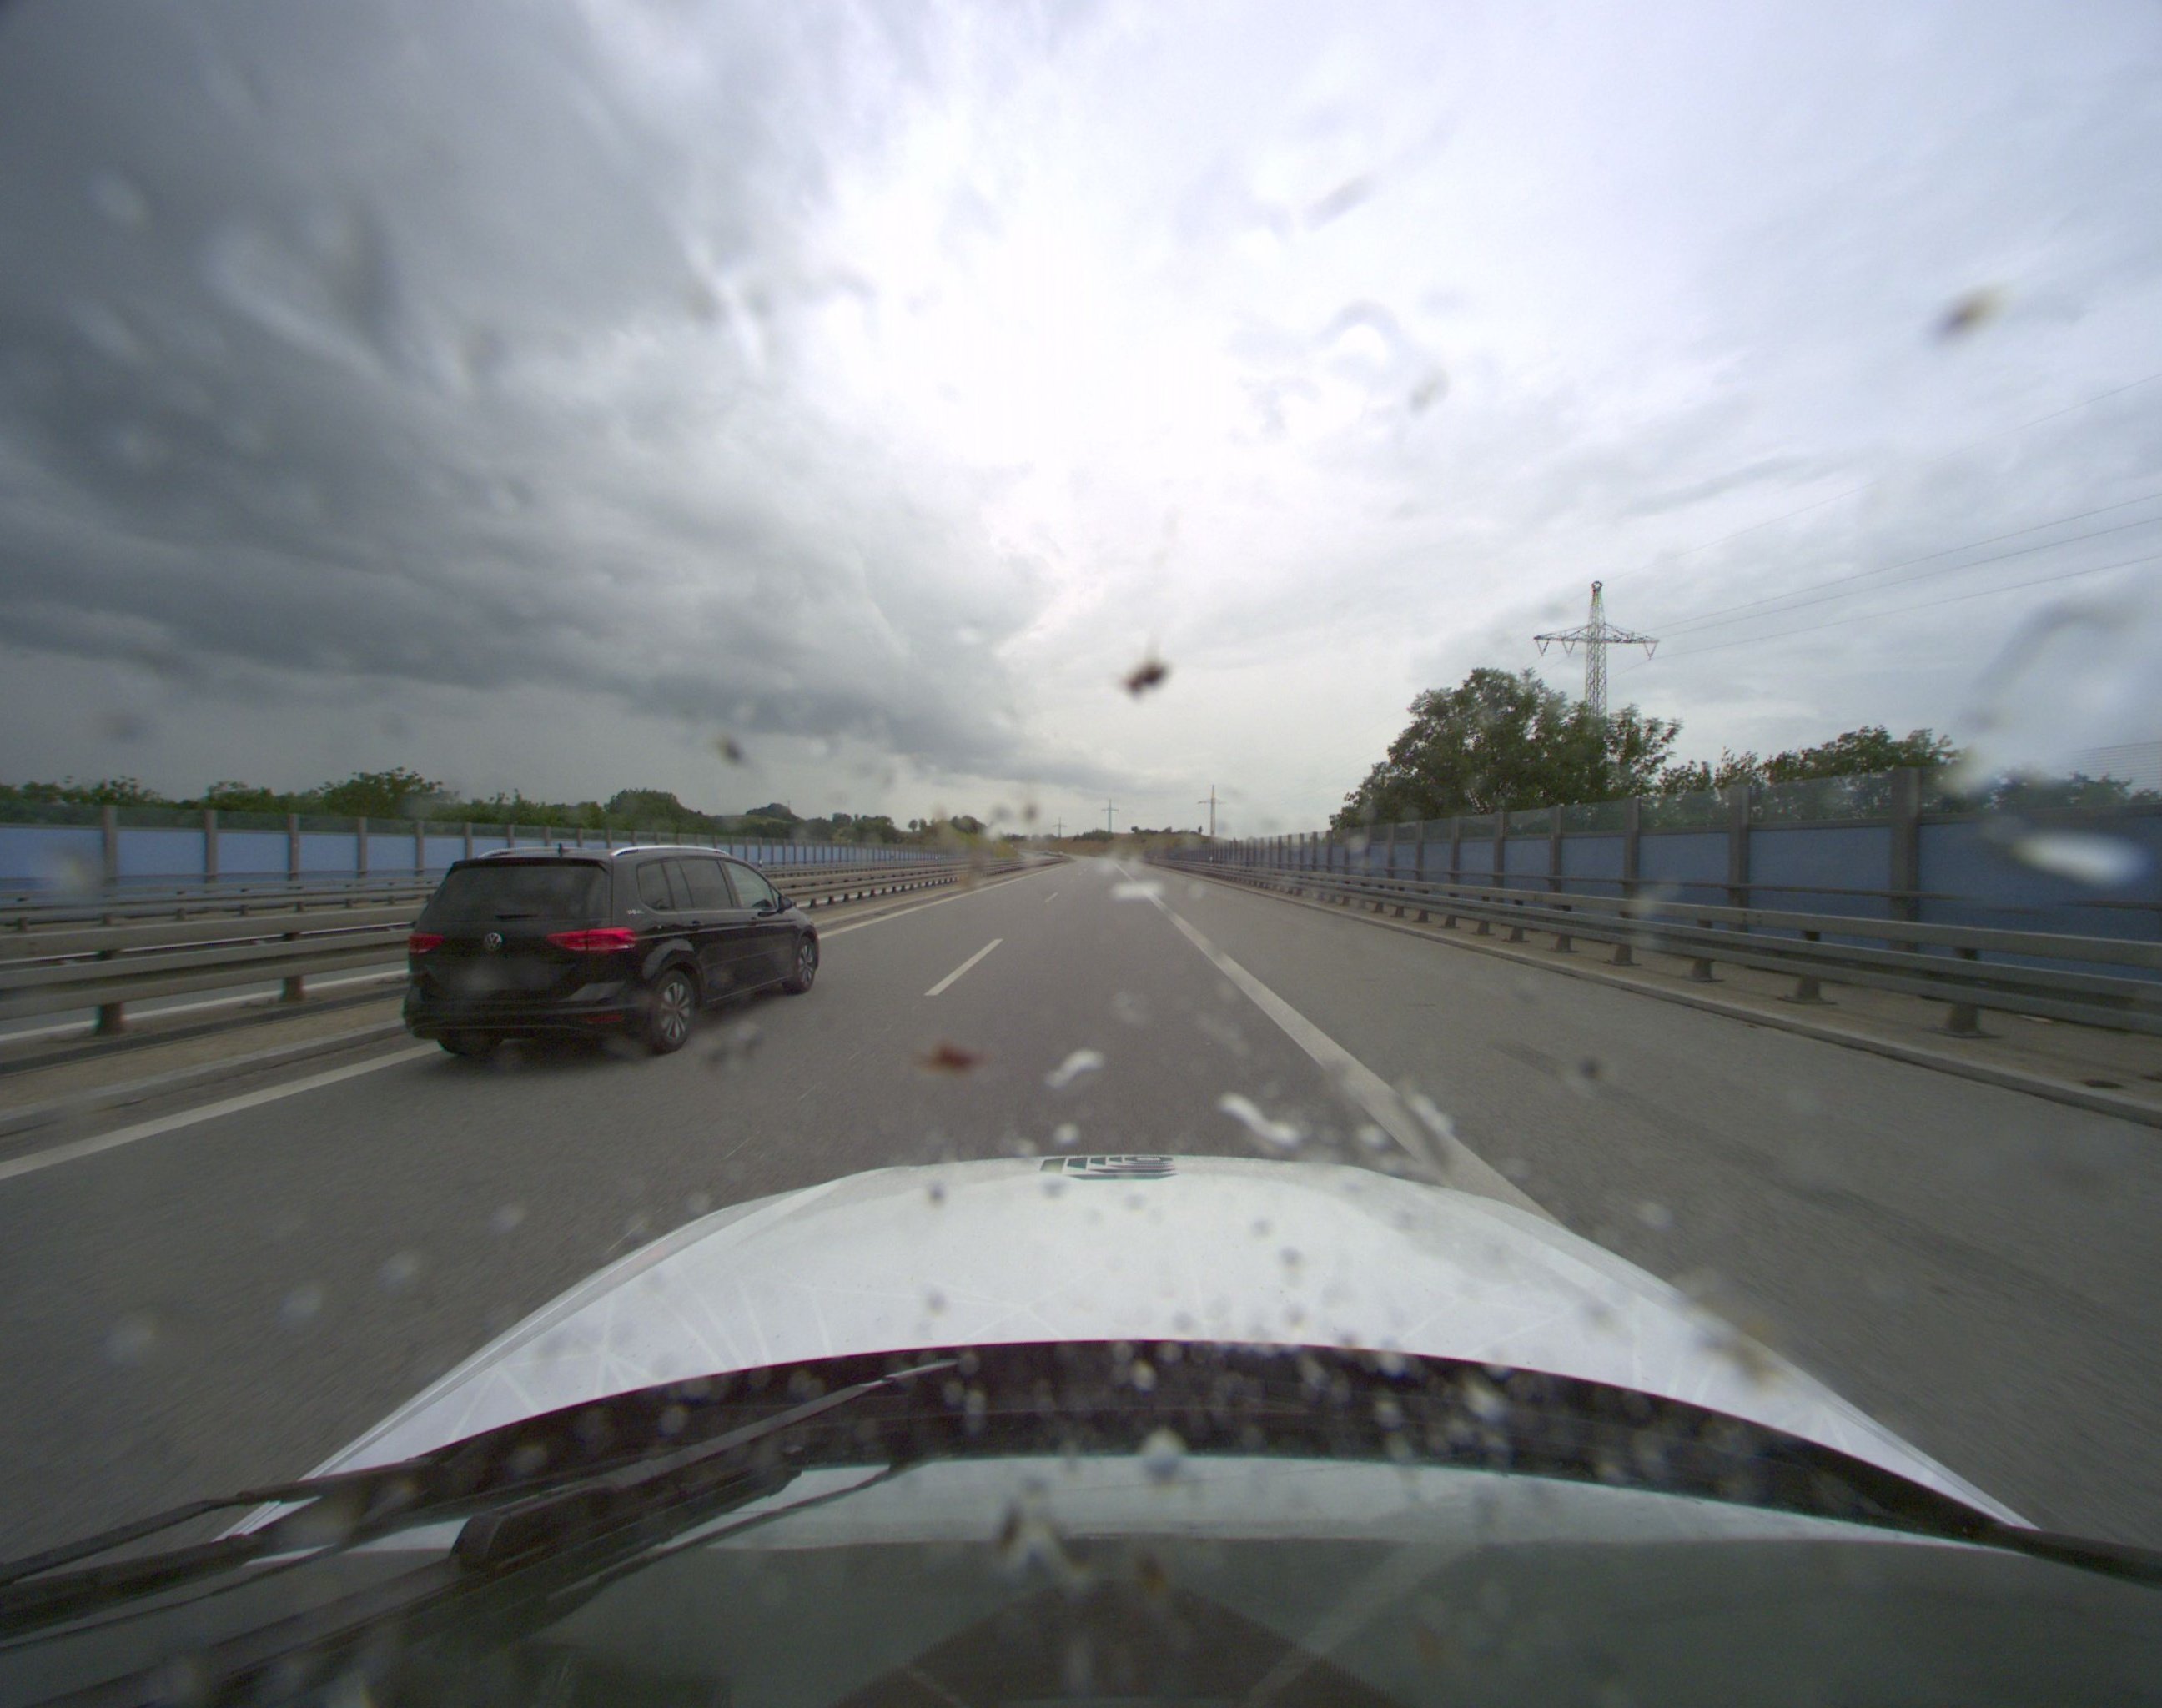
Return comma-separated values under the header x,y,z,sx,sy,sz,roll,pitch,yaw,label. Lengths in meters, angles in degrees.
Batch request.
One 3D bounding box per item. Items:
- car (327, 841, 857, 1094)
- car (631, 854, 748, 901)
x,y,z,sx,sy,sz,roll,pitch,yaw,label
-4.005,0.753,8.122,1.889,1.670,5.398,0,0,2,car
-13.873,0.784,29.173,1.986,1.515,4.289,0,0,2,car
